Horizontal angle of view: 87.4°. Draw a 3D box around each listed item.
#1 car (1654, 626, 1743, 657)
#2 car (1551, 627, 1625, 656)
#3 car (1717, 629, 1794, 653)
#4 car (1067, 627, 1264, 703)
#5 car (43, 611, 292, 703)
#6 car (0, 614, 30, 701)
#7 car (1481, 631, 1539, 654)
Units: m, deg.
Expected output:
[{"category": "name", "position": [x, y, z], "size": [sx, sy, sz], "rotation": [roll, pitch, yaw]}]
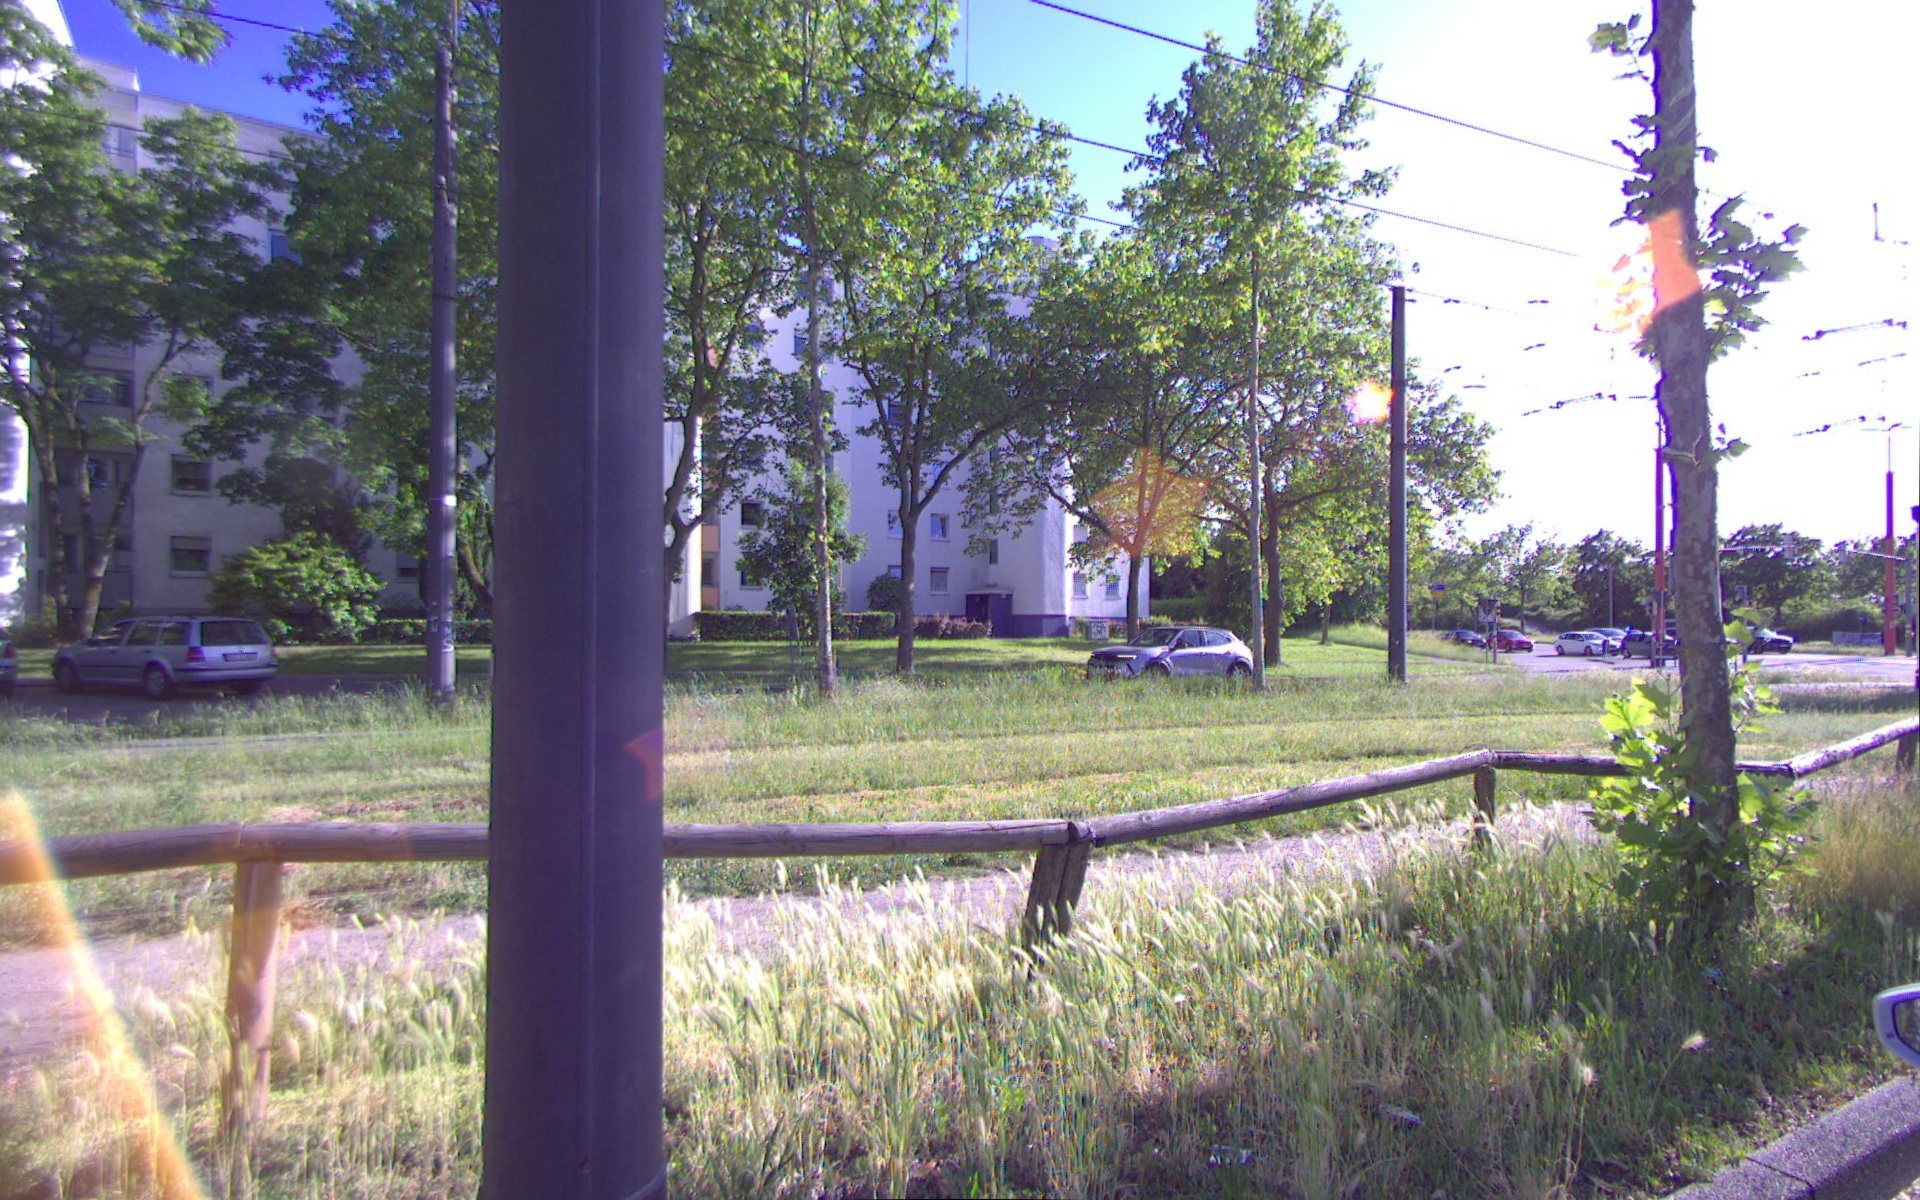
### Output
[{"category": "car", "position": [42.393, 2.336, 57.762], "size": [1.962, 1.666, 3.997], "rotation": [1, -1, -5]}, {"category": "car", "position": [38.968, 2.554, 62.438], "size": [1.833, 1.633, 4.185], "rotation": [1, -1, -4]}, {"category": "car", "position": [48.808, 2.485, 61.737], "size": [1.664, 1.347, 4.001], "rotation": [1, -1, 2]}, {"category": "car", "position": [4.684, 1.413, 22.692], "size": [4.280, 1.543, 1.797], "rotation": [1, -1, -31]}, {"category": "car", "position": [-14.579, 0.992, 18.514], "size": [3.898, 1.462, 1.710], "rotation": [1, 0, 18]}, {"category": "car", "position": [-17.957, 0.949, 17.114], "size": [3.547, 1.439, 1.576], "rotation": [1, 0, 18]}, {"category": "car", "position": [38.454, 2.951, 70.367], "size": [1.699, 1.533, 3.998], "rotation": [1, -1, -4]}]
